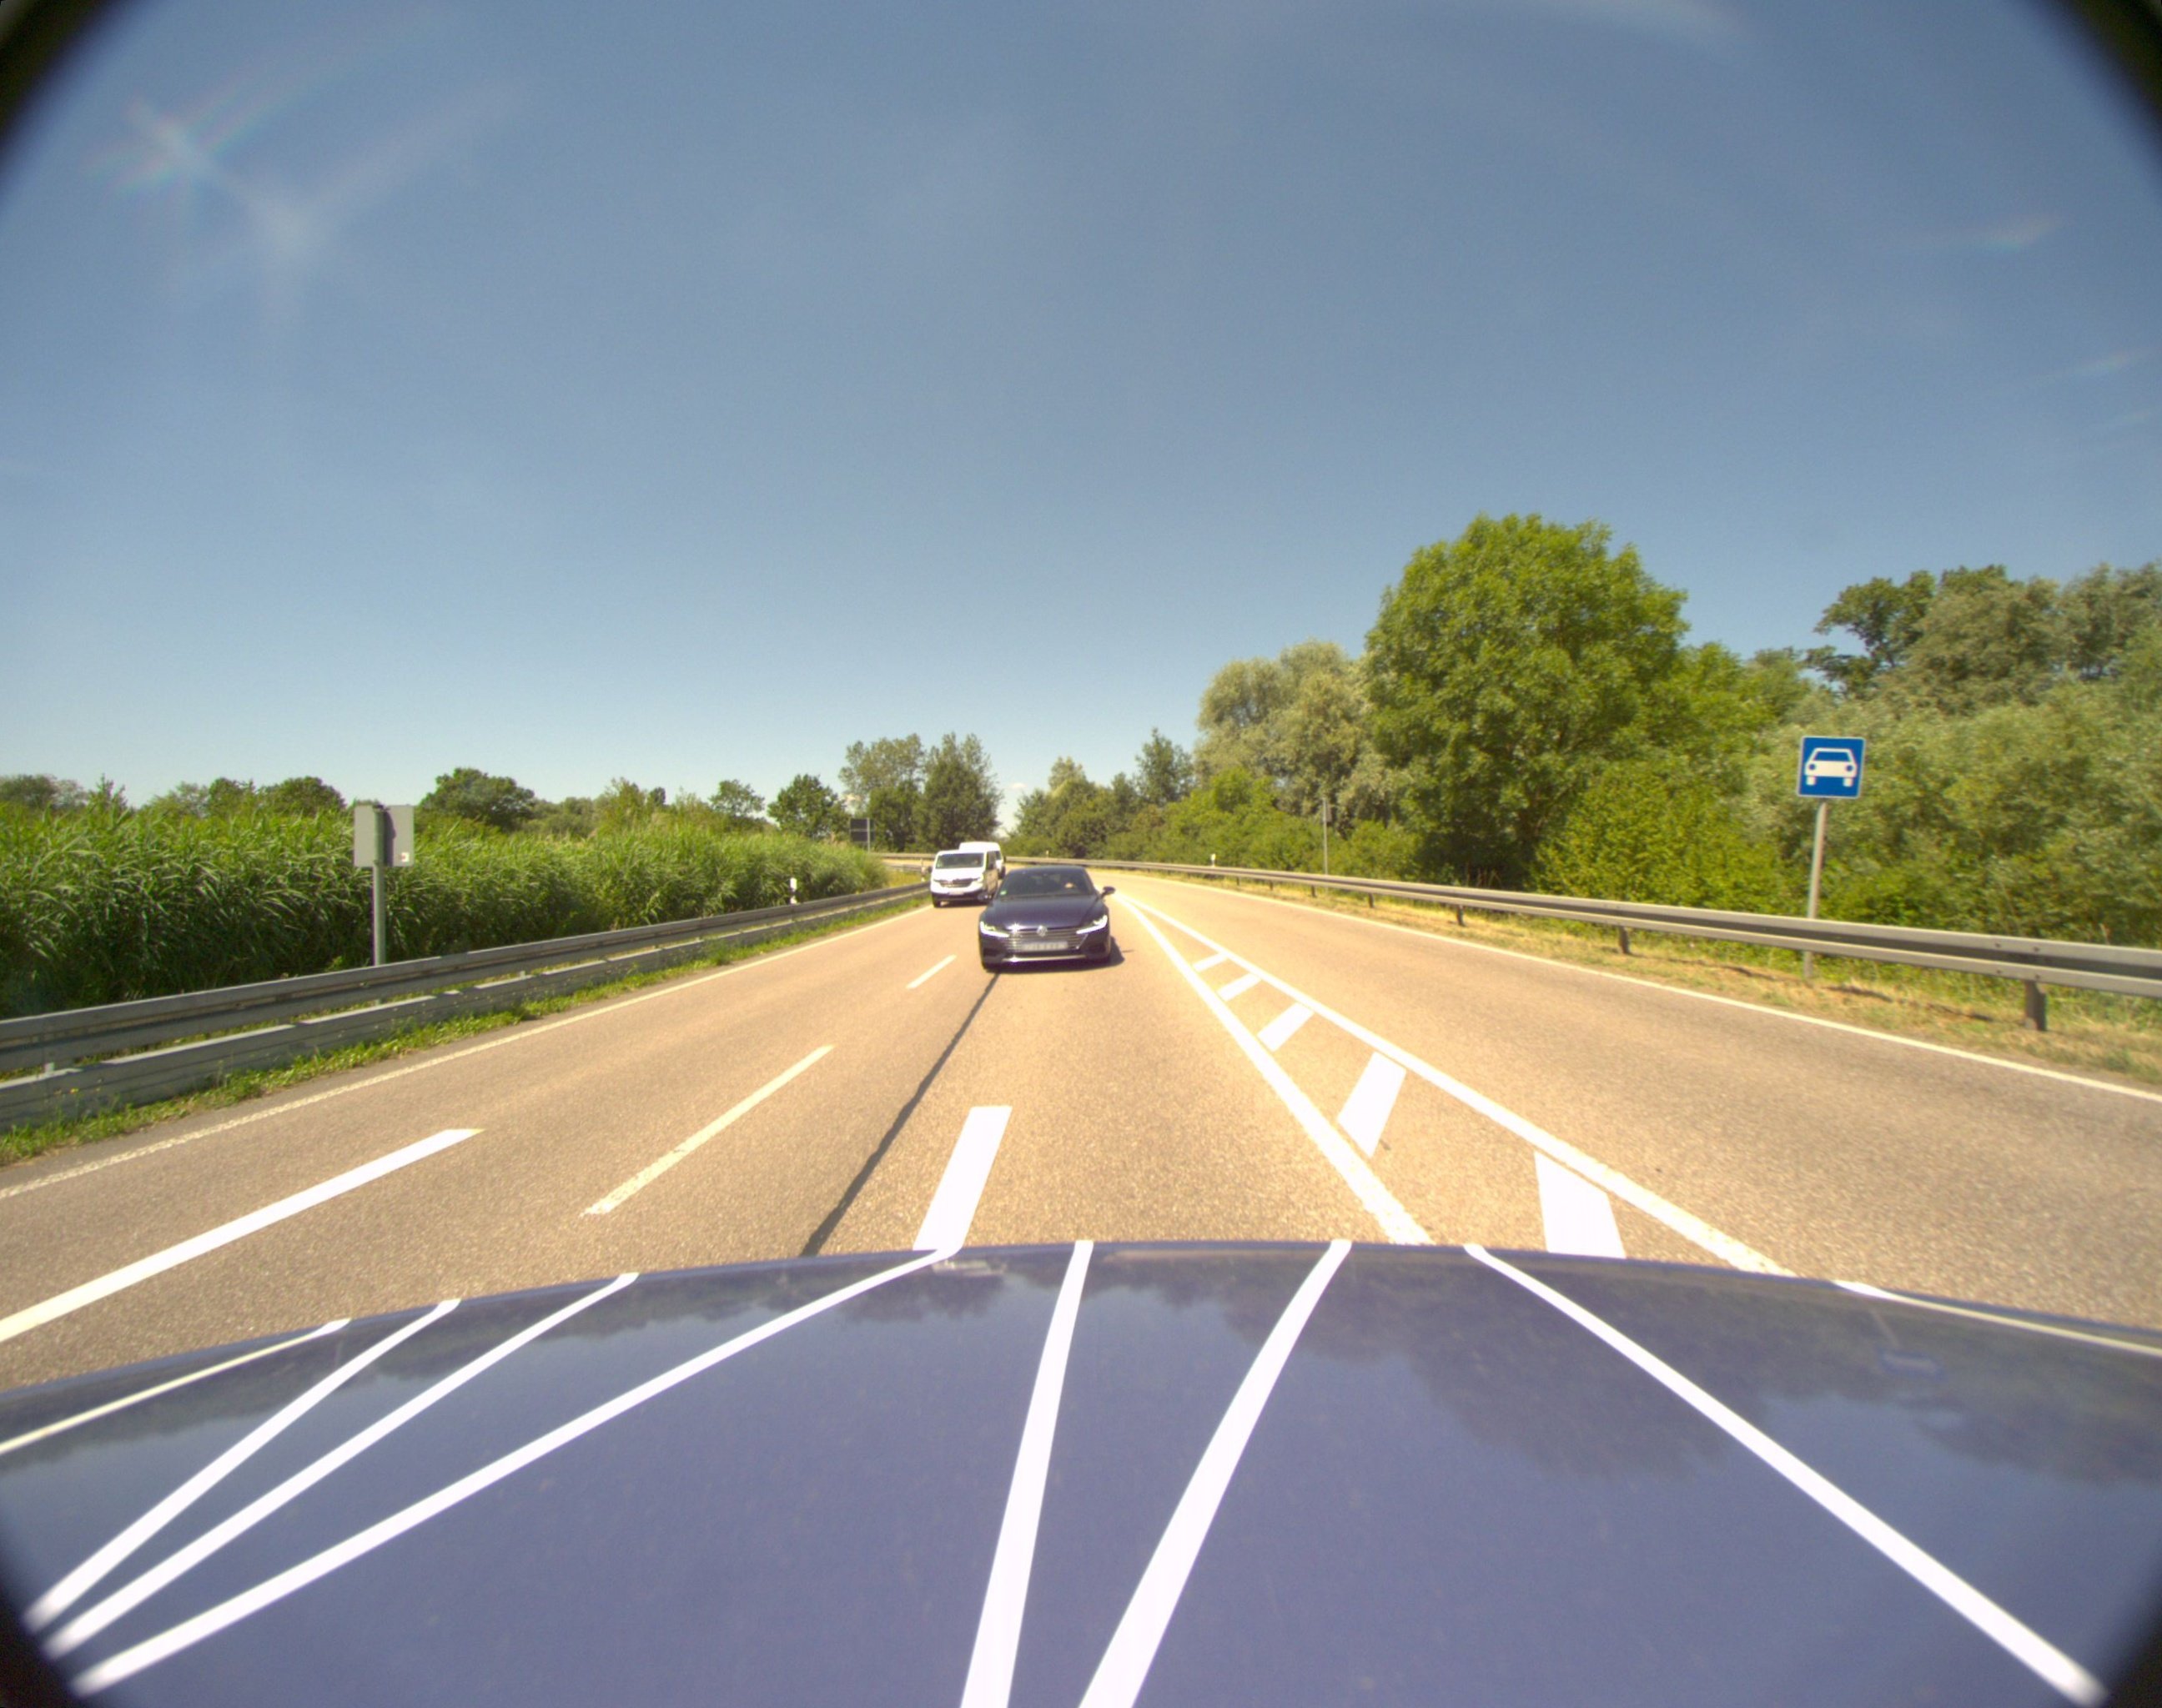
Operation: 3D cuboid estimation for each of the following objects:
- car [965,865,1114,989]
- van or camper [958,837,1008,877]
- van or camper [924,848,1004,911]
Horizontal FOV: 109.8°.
[{"bbox_3d":[-0.489,0.967,11.989,1.843,1.422,4.533,-3,0,1],"label":"car"},{"bbox_3d":[-6.911,0.216,53.066,2.077,2.539,6.037,-2,0,-21],"label":"van or camper"},{"bbox_3d":[-4.167,0.827,27.931,2.008,2.019,5.447,-3,0,0],"label":"van or camper"}]
